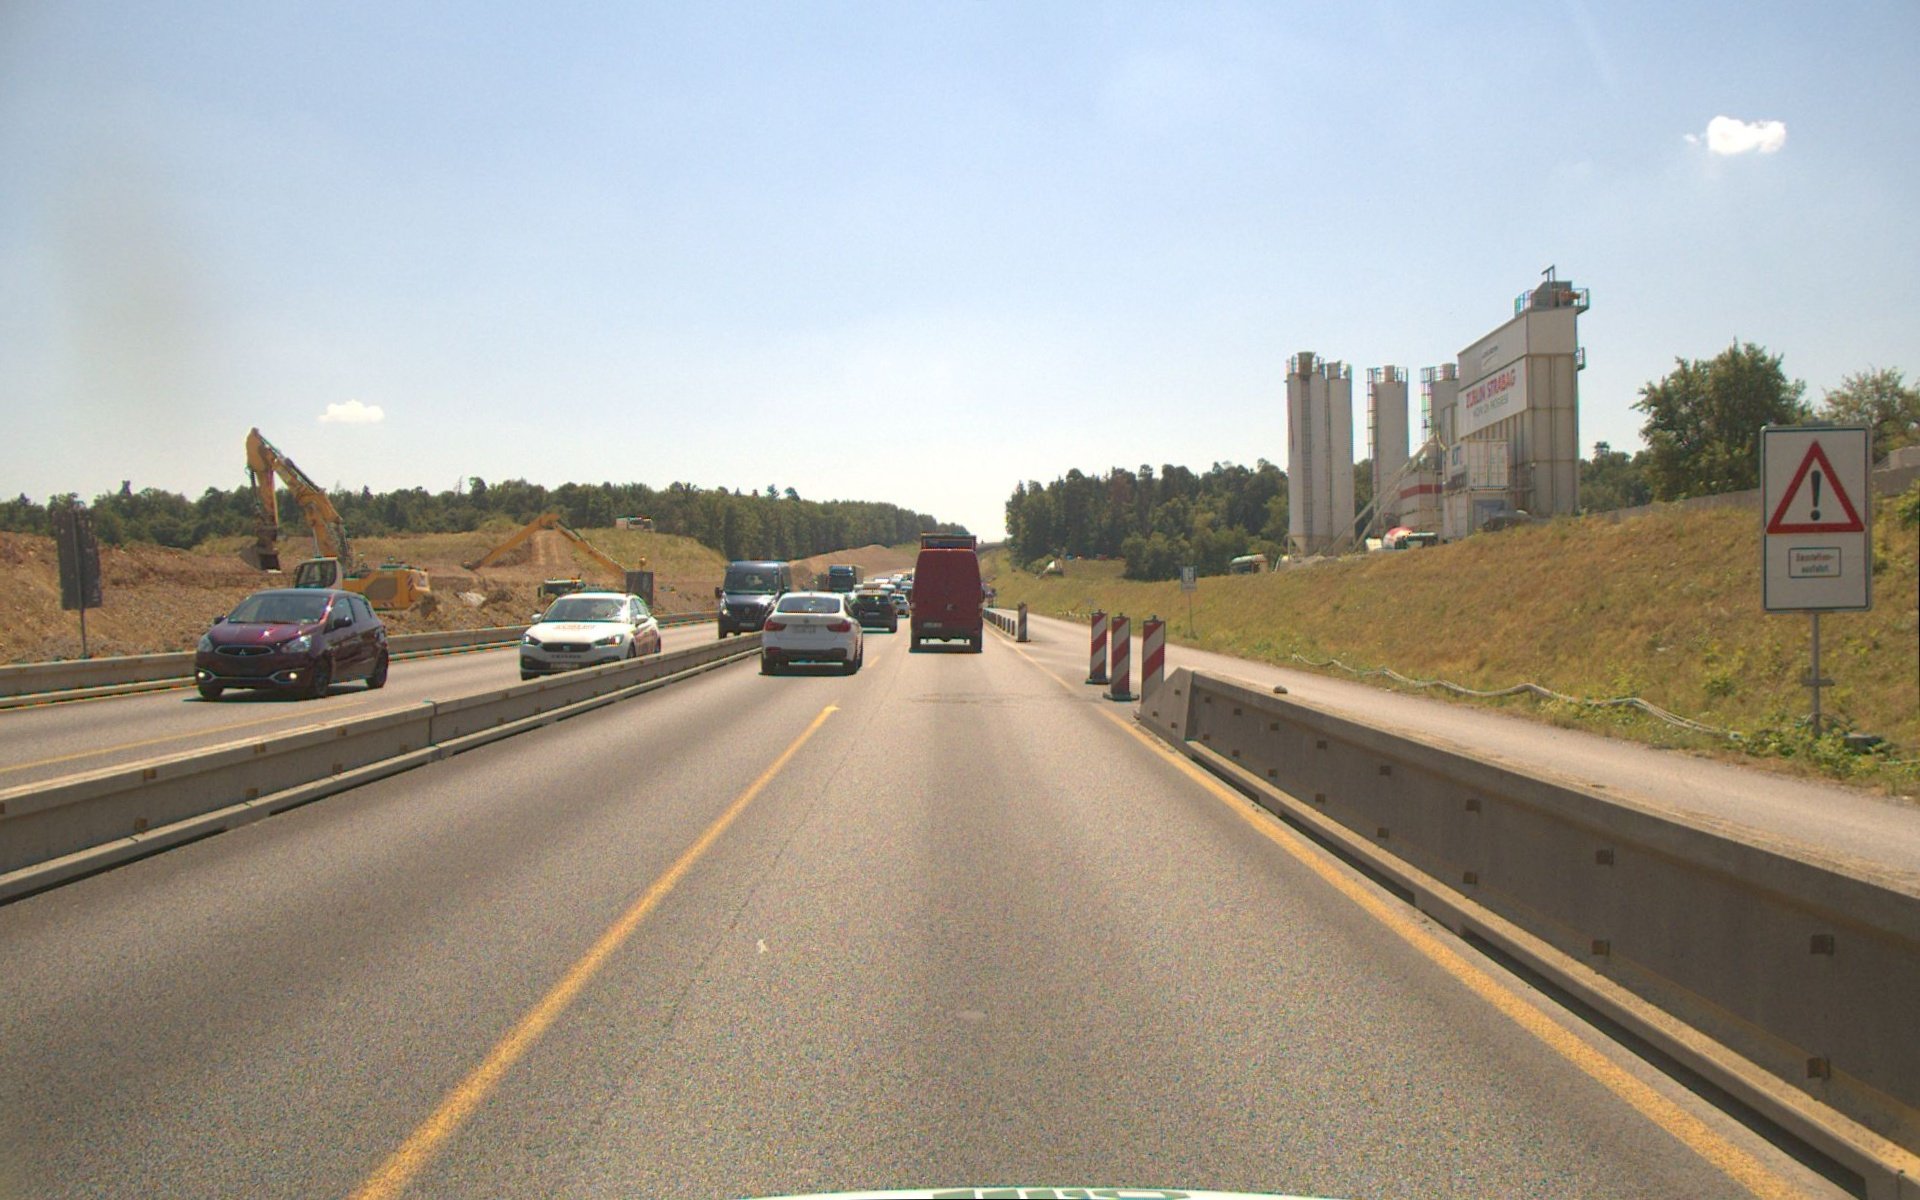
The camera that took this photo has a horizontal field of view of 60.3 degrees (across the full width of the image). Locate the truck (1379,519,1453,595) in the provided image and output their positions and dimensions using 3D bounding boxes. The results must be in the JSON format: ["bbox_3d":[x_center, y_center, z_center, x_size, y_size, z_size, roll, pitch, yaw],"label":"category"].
[{"bbox_3d":[27.756,-2.540,101.153,3.362,4.371,9.936,0,0,10],"label":"truck"}]

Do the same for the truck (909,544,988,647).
[{"bbox_3d":[-0.289,-0.130,46.381,2.068,2.679,6.484,0,0,0],"label":"truck"}]

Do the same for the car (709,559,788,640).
[{"bbox_3d":[-6.850,-0.029,54.016,1.915,2.511,5.357,0,0,-1],"label":"car"}]

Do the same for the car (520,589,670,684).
[{"bbox_3d":[-6.110,0.552,28.172,1.644,1.467,4.670,0,0,-2],"label":"car"}]

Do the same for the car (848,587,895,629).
[{"bbox_3d":[-3.416,0.274,63.942,1.759,1.561,3.929,0,0,-3],"label":"car"}]

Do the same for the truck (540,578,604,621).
[{"bbox_3d":[-25.480,-0.062,108.974,2.268,2.663,8.409,0,0,-1],"label":"truck"}]

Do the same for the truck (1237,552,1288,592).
[{"bbox_3d":[24.850,-2.252,135.754,2.837,3.167,6.010,0,0,23],"label":"truck"}]

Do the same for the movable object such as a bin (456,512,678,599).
[{"bbox_3d":[-34.053,-3.871,144.003,18.336,7.357,3.614,0,0,-3],"label":"movable object such as a bin"}]

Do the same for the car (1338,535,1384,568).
[{"bbox_3d":[26.421,-3.204,109.128,1.953,2.049,4.427,0,0,-1],"label":"car"}]

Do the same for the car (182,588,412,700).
[{"bbox_3d":[-9.416,0.563,23.864,1.618,1.467,4.226,0,0,0],"label":"car"}]

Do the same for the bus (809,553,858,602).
[{"bbox_3d":[-12.258,-2.132,162.313,3.863,4.492,17.195,0,0,-1],"label":"bus"}]

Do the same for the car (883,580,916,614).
[{"bbox_3d":[-3.734,-0.204,102.760,1.953,2.049,4.000,0,0,0],"label":"car"}]

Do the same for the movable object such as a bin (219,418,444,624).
[{"bbox_3d":[-24.648,-3.034,65.162,7.479,7.848,3.446,0,0,1],"label":"movable object such as a bin"}]

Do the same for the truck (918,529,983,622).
[{"bbox_3d":[-0.429,-1.139,79.324,2.953,4.225,8.272,0,0,0],"label":"truck"}]

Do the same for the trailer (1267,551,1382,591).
[{"bbox_3d":[30.182,-2.409,137.102,8.848,3.285,3.317,0,0,-15],"label":"trailer"}]

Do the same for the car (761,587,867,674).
[{"bbox_3d":[-2.794,0.545,32.643,1.759,1.561,5.071,1,0,-2],"label":"car"}]
